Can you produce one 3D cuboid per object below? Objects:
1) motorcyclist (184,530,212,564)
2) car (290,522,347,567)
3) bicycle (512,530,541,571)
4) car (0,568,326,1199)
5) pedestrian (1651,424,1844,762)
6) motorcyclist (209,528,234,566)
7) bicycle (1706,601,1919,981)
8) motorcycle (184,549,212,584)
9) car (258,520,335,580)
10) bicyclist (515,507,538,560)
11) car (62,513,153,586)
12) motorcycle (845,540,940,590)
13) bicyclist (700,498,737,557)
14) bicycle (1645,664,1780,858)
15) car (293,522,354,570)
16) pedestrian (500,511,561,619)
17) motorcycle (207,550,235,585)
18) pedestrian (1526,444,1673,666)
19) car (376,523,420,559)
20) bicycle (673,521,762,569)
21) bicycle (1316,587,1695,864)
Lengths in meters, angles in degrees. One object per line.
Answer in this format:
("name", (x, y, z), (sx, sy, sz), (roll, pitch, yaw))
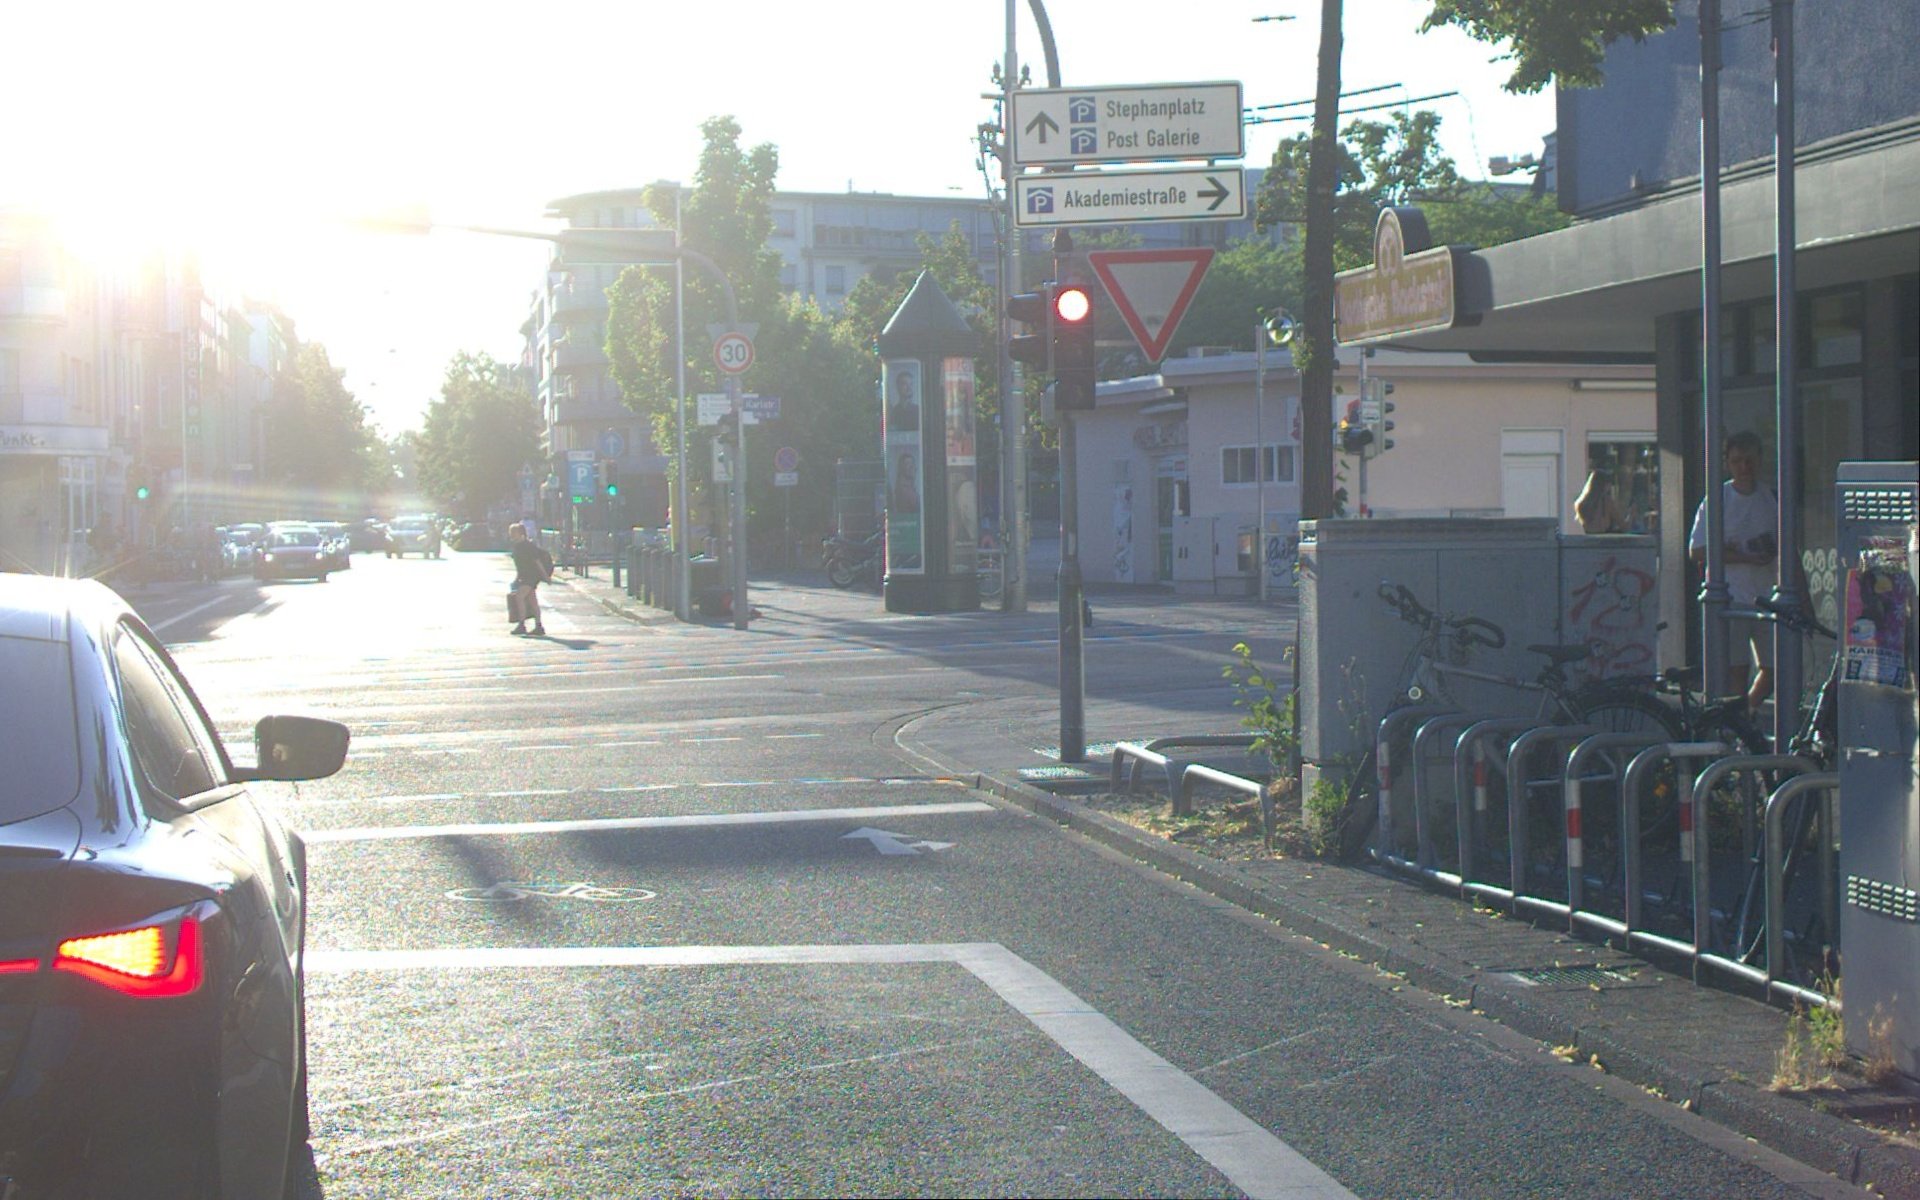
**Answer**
("motorcyclist", (-20.568, -1.440, 92.846), (0.575, 0.912, 2.201), (1, 1, -8))
("car", (-22.976, -2.000, 123.225), (1.817, 1.514, 4.001), (-1, 2, -8))
("bicycle", (-12.231, -1.393, 97.004), (0.550, 1.155, 2.145), (0, 1, -15))
("car", (-2.113, 0.674, 6.502), (1.736, 1.424, 4.225), (0, 1, -10))
("pedestrian", (4.386, -0.048, 19.174), (0.835, 1.835, 0.679), (-1, 1, -8))
("motorcyclist", (-19.597, -1.397, 91.234), (0.575, 0.992, 0.703), (1, 1, -8))
("bicycle", (3.227, 0.623, 11.315), (1.440, 1.216, 0.383), (1, 1, -7))
("motorcycle", (-20.590, -0.912, 92.937), (0.575, 0.912, 2.201), (1, 1, -8))
("car", (-17.747, -1.356, 92.129), (1.817, 1.514, 4.001), (-1, 2, -8))
("bicyclist", (-12.249, -1.881, 97.077), (0.550, 1.476, 0.723), (0, 0, -15))
("car", (-21.566, -1.302, 87.110), (1.817, 1.782, 4.001), (-1, 2, -8))
("motorcycle", (-1.334, -0.693, 67.859), (1.668, 0.935, 0.856), (-1, 2, -19))
("bicyclist", (-6.219, -1.866, 88.588), (0.884, 1.500, 0.612), (1, 1, 3))
("bicycle", (3.349, 0.705, 15.348), (0.249, 0.793, 1.116), (1, 1, -6))
("car", (-21.043, -1.792, 113.792), (1.817, 1.514, 4.001), (-1, 2, -8))
("pedestrian", (-6.104, -0.498, 48.853), (0.732, 1.524, 0.473), (0, 1, -25))
("motorcycle", (-19.620, -0.870, 91.343), (0.575, 0.912, 2.201), (1, 1, -8))
("pedestrian", (5.571, -0.398, 29.953), (1.001, 1.854, 0.640), (-5, 3, -28))
("car", (-24.627, -2.595, 150.741), (1.817, 1.514, 4.001), (-1, 2, -8))
("bicycle", (-6.252, -1.408, 88.608), (2.212, 1.198, 0.620), (1, 1, 3))
("bicycle", (2.403, 0.544, 15.165), (1.612, 1.167, 0.318), (-1, 1, -6))
